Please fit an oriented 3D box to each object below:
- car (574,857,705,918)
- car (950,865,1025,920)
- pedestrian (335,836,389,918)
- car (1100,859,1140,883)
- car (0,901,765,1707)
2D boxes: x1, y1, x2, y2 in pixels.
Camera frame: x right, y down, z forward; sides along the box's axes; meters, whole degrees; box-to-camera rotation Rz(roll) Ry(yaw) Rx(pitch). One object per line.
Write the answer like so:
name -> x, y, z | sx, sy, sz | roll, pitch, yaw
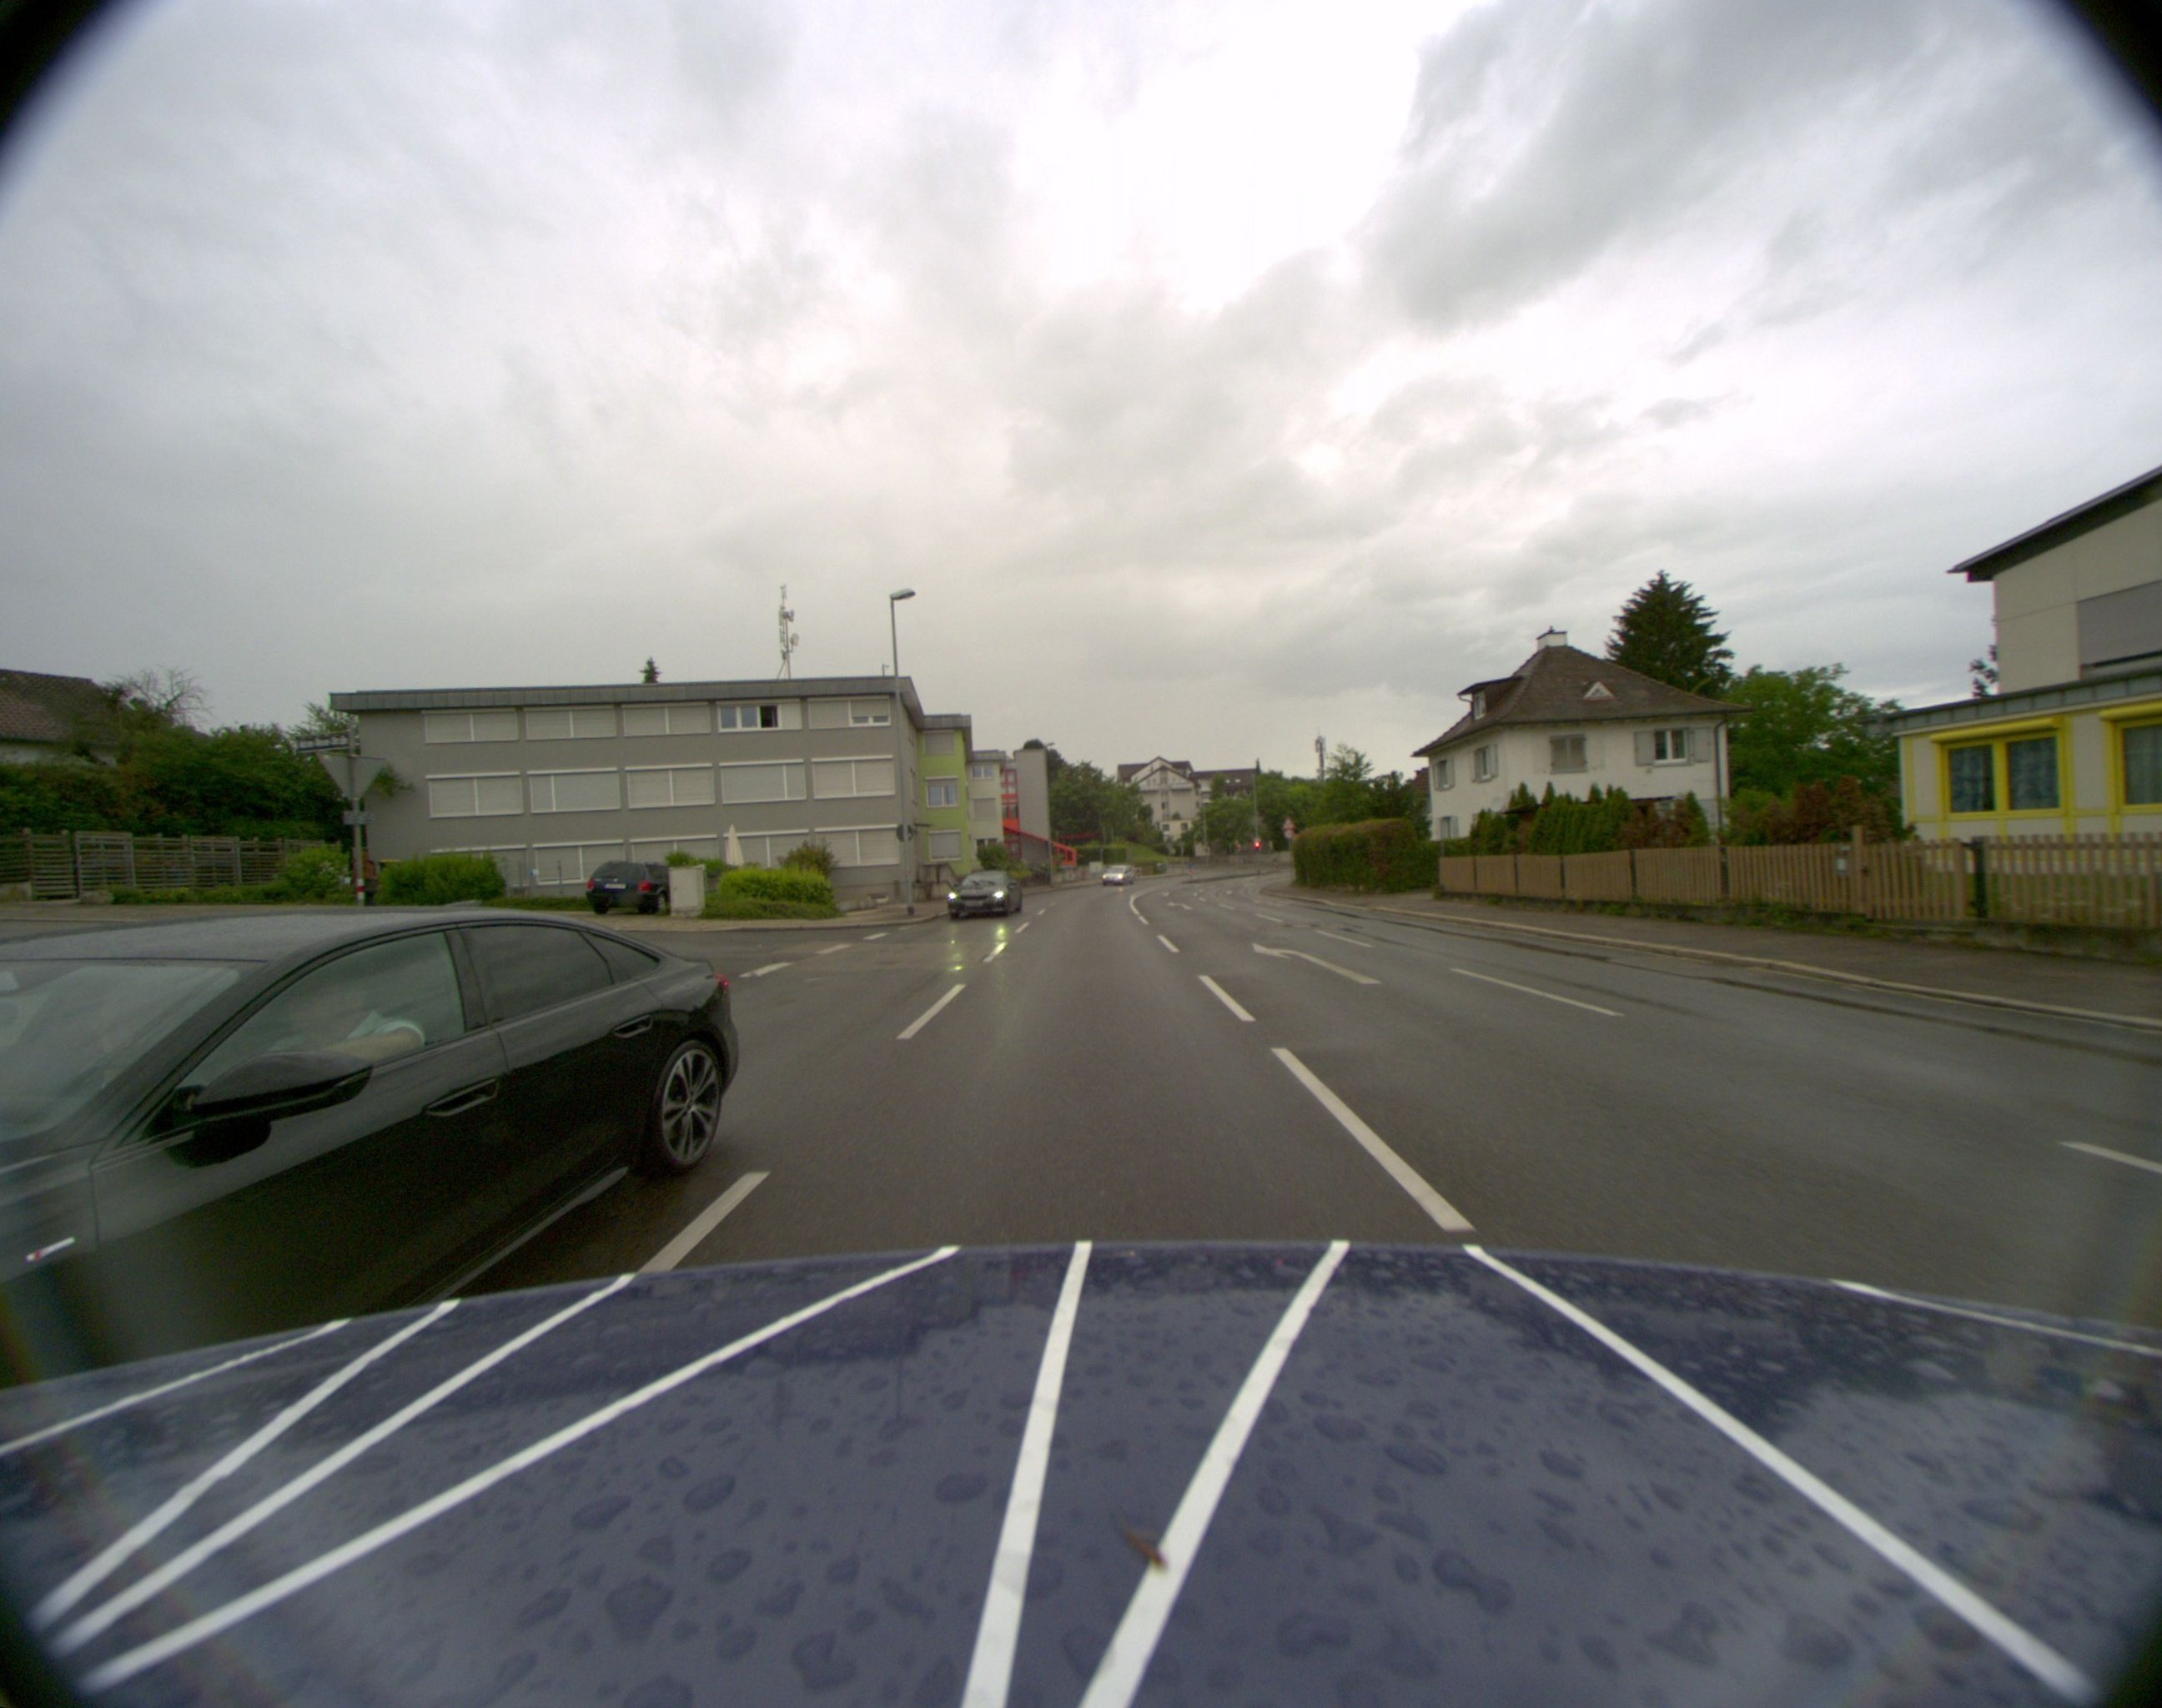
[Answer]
car -> -12.596, 0.889, 21.991 | 1.815, 1.518, 3.997 | 1, 1, -7
car -> -3.074, 1.222, 25.717 | 1.872, 1.510, 3.999 | -3, 1, 1
pedestrian -> -17.845, 0.566, 18.876 | 0.718, 2.002, 0.614 | 0, 1, -9
car -> 3.220, 1.379, 61.438 | 1.995, 1.647, 4.005 | -2, 1, 21
car -> -2.928, 1.083, 2.278 | 1.871, 1.416, 4.738 | -3, 1, 1
